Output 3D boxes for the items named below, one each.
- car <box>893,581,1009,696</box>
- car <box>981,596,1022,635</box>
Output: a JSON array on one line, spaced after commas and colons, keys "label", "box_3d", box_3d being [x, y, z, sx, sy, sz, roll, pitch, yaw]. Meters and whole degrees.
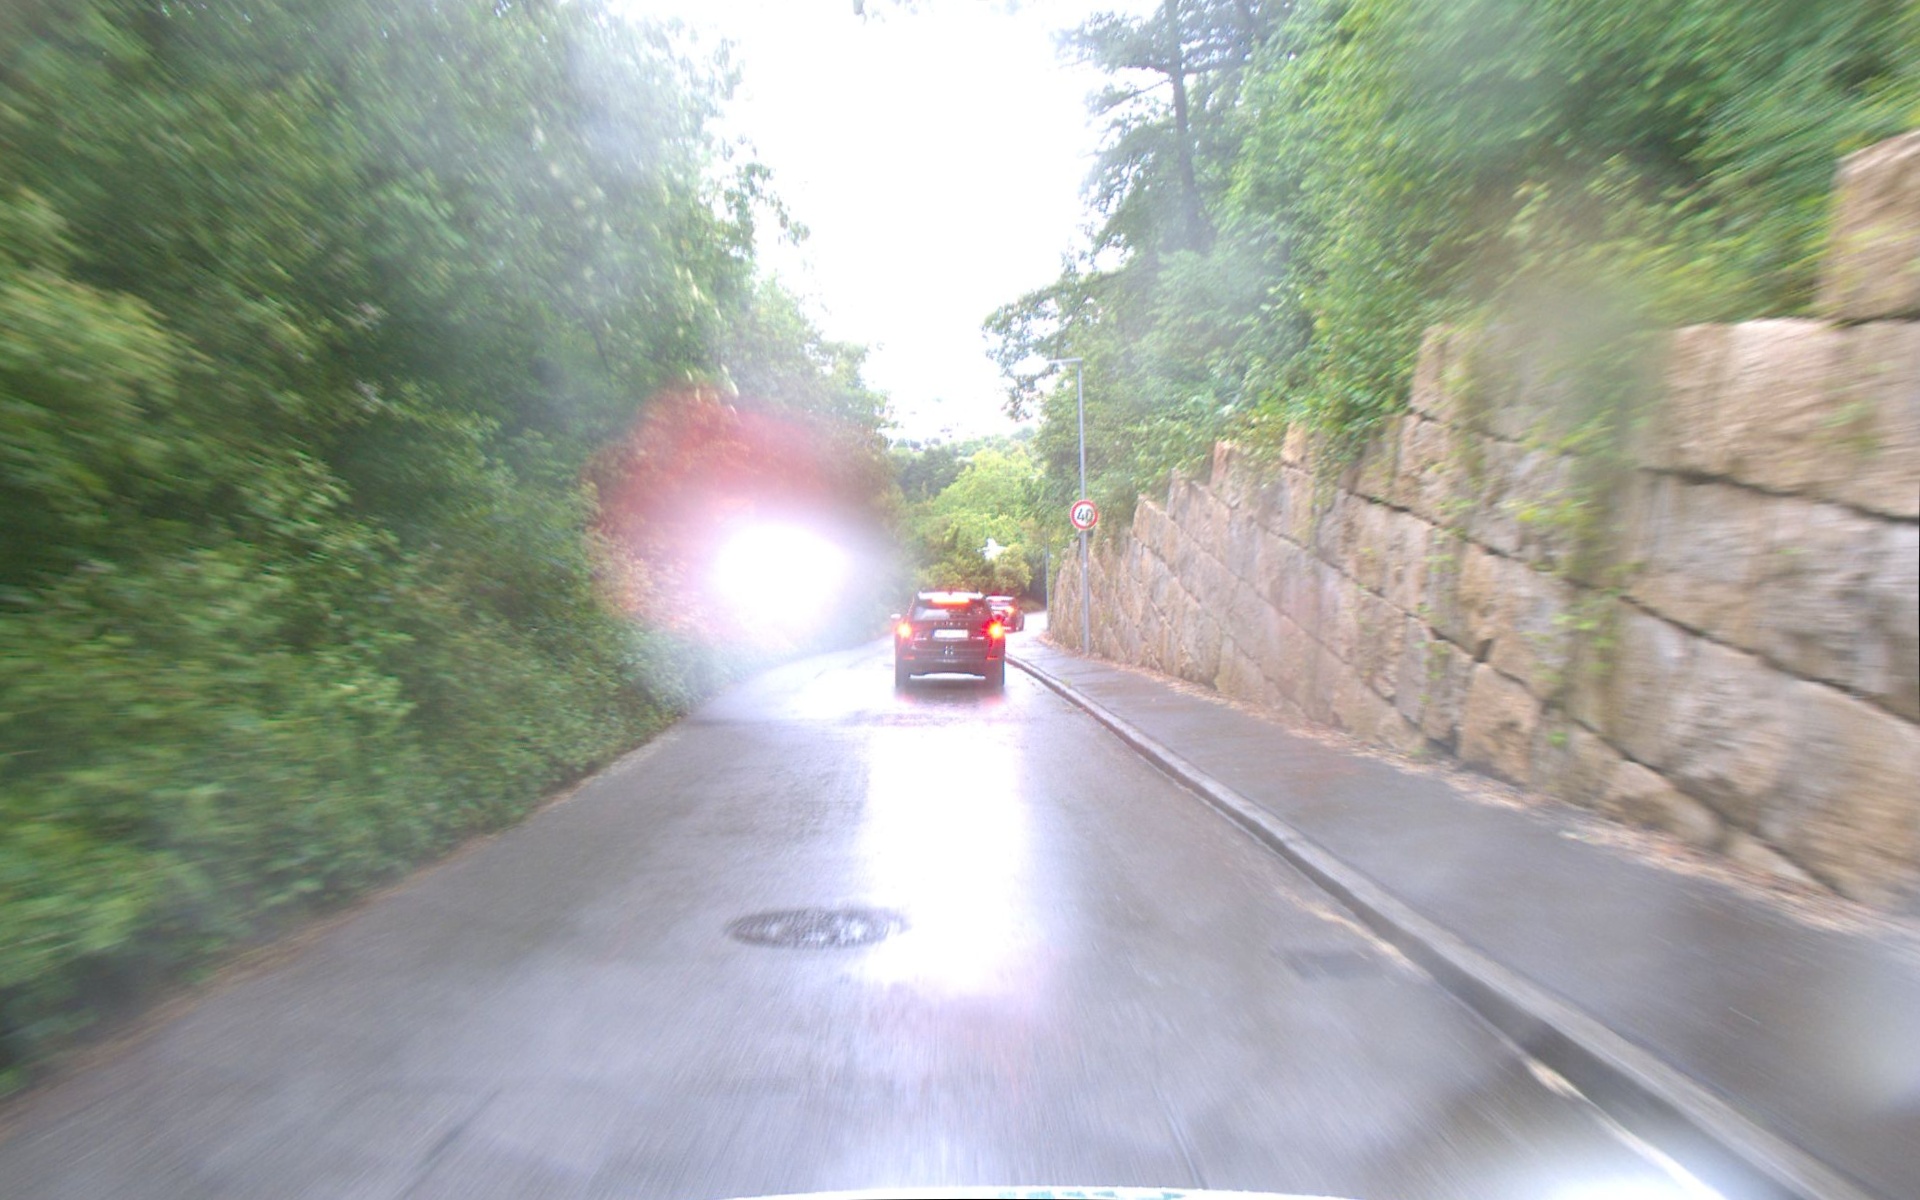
[{"label": "car", "box_3d": [-0.212, 0.550, 26.688, 1.666, 1.475, 3.999, -1, 4, -3]}, {"label": "car", "box_3d": [1.952, 0.718, 77.716, 1.824, 1.774, 4.001, 1, 0, 1]}]
